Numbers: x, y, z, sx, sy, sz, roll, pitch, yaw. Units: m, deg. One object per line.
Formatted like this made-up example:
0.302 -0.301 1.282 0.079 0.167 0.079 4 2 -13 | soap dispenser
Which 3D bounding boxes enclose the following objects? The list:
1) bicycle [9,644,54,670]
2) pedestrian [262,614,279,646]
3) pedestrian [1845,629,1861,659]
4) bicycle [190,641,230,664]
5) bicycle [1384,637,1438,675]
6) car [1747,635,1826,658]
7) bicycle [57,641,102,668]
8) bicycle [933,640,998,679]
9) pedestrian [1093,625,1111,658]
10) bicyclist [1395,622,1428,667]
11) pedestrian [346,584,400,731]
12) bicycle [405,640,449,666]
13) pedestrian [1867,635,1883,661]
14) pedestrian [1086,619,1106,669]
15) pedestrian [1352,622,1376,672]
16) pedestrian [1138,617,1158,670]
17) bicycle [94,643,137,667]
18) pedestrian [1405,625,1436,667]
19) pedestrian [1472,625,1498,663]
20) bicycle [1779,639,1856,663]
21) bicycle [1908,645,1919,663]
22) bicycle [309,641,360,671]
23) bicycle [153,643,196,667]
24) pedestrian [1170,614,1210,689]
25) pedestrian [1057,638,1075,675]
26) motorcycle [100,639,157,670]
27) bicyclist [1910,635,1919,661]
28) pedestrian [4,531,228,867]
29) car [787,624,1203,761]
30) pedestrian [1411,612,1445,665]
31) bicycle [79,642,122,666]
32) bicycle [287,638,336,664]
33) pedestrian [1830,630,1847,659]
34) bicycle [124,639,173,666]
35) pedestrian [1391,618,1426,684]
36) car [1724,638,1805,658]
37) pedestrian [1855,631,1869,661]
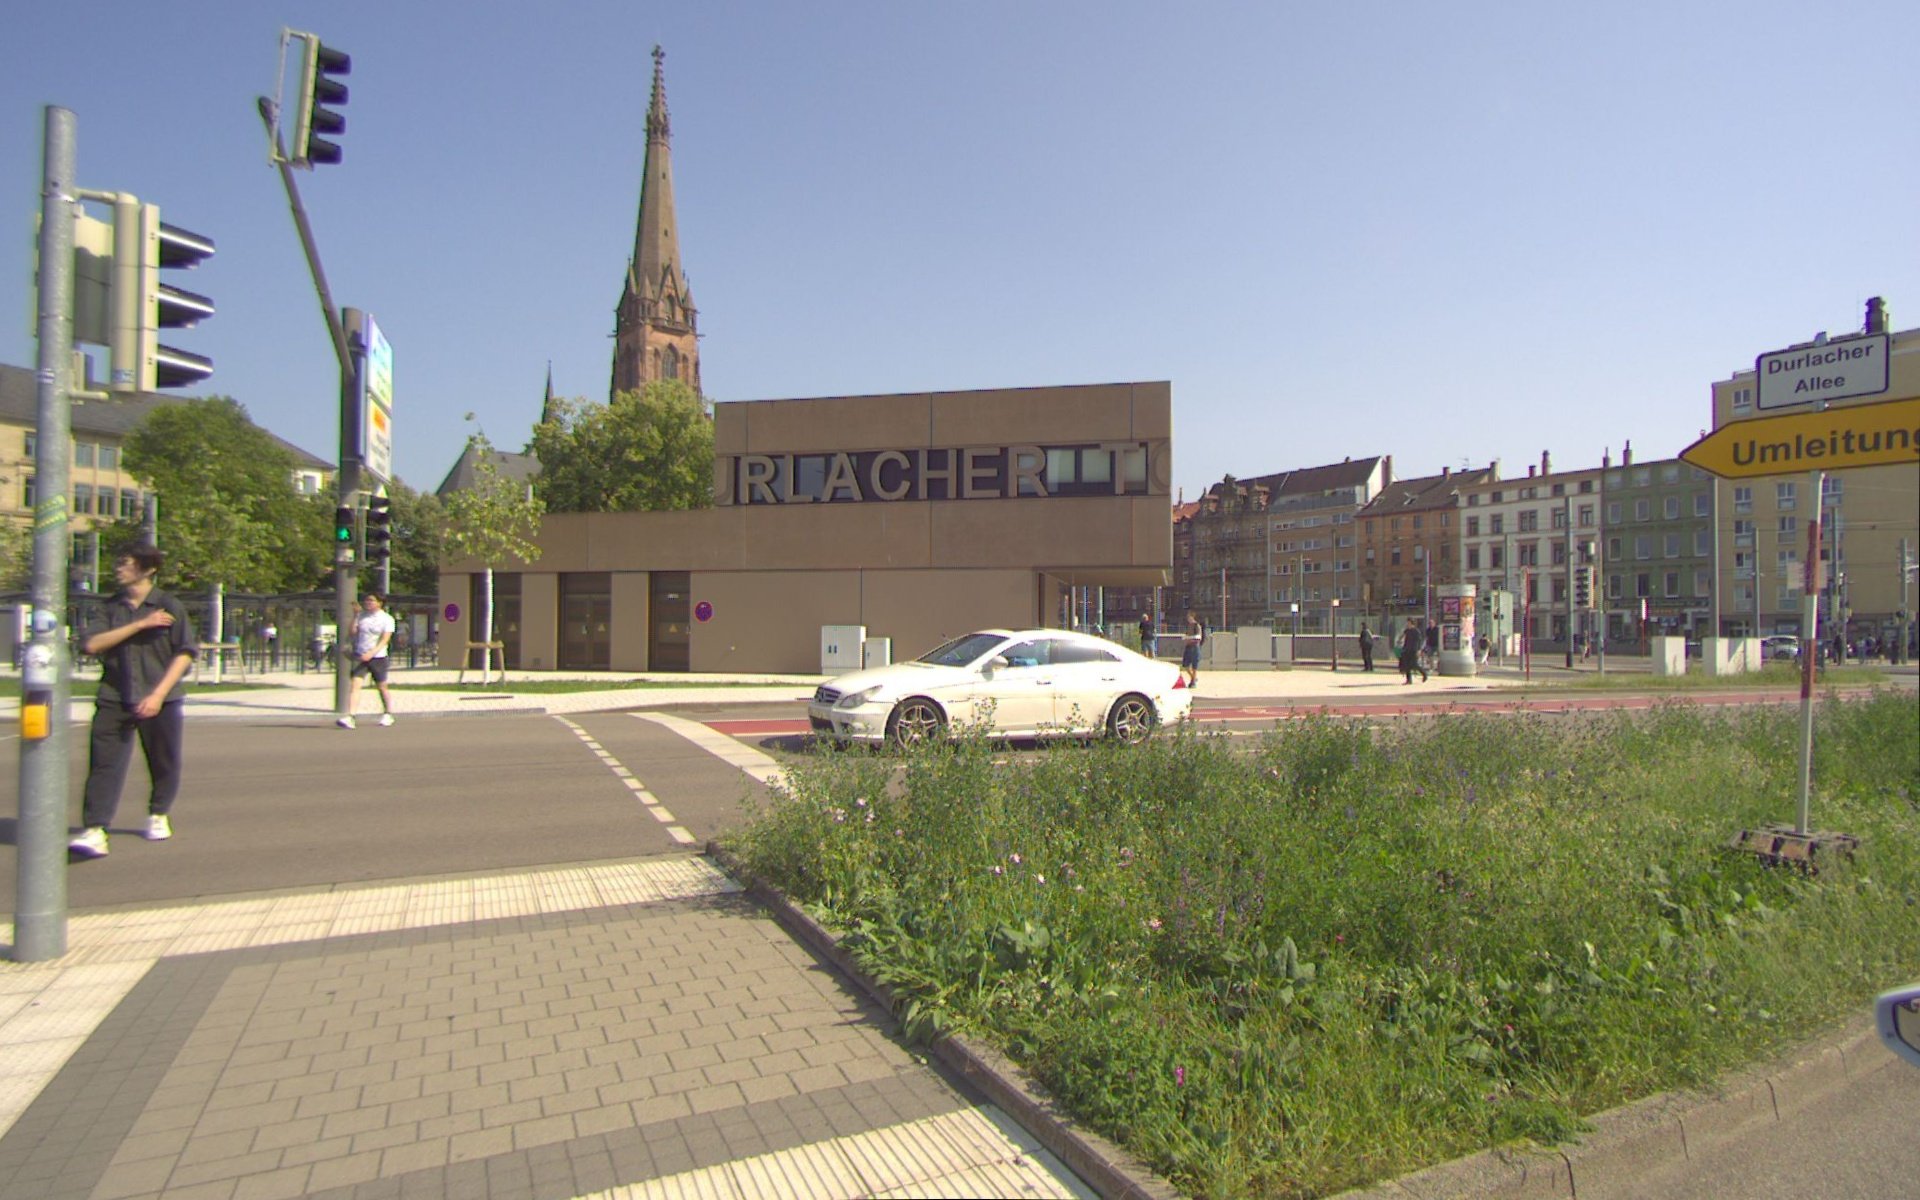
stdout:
-33.429 2.038 36.157 1.556 0.904 0.401 0 -1 14 | bicycle
-38.494 1.691 56.097 0.712 1.771 0.384 2 -2 -44 | pedestrian
51.577 2.560 58.004 0.539 1.707 0.454 -2 0 -19 | pedestrian
-30.096 2.121 40.309 1.556 0.904 0.410 0 -2 14 | bicycle
14.482 1.780 32.210 1.827 1.078 0.560 -2 1 -27 | bicycle
54.408 3.039 66.160 1.568 1.411 3.720 1 -2 -30 | car
-32.749 2.033 37.350 1.556 0.980 0.422 0 -2 14 | bicycle
0.152 1.539 26.003 1.580 0.968 0.661 0 0 12 | bicycle
6.910 2.018 48.982 0.782 1.612 0.692 0 -1 -1 | pedestrian
14.481 1.410 32.212 0.872 1.380 0.560 -2 1 -27 | bicyclist
-7.698 0.742 13.161 0.564 1.857 0.689 1 -2 -32 | pedestrian
-21.210 2.111 39.961 1.710 1.022 0.401 0 -2 14 | bicycle
52.989 2.779 58.168 0.489 1.507 0.440 -2 0 21 | pedestrian
4.825 1.555 35.670 0.595 1.718 0.533 -2 0 3 | pedestrian
13.229 1.539 32.870 0.499 1.601 0.497 -2 0 -16 | pedestrian
6.573 1.510 35.191 0.547 1.843 0.392 -2 0 -5 | pedestrian
-32.394 2.107 38.513 1.556 0.904 0.410 0 -2 14 | bicycle
22.673 2.250 49.488 1.010 2.040 0.953 -2 0 -31 | pedestrian
26.043 2.167 49.833 0.770 1.843 0.829 3 -2 -31 | pedestrian
60.976 3.637 71.506 1.182 1.572 3.965 -2 0 -32 | bicycle
53.531 3.024 55.986 1.715 0.997 0.723 2 -2 -35 | bicycle
-21.624 1.925 34.727 1.710 1.022 0.401 0 -2 14 | bicycle
-30.320 2.135 38.782 1.556 0.904 0.410 0 -2 14 | bicycle
5.611 1.249 24.486 0.668 1.783 0.875 -1 -2 38 | pedestrian
3.395 1.805 32.267 0.513 1.187 0.596 0 -2 11 | pedestrian
-27.887 1.820 33.693 1.710 1.022 0.543 0 -2 14 | motorcycle
53.591 2.671 56.038 0.683 1.453 0.721 1 -2 -35 | bicyclist
-5.152 0.561 6.216 0.719 1.864 1.077 1 -1 -22 | pedestrian
0.465 1.050 12.220 4.754 1.379 1.836 2 -1 -25 | car
16.677 1.370 35.772 0.868 1.843 0.892 -2 0 38 | pedestrian
-32.537 2.039 38.007 1.556 0.904 0.401 0 -2 14 | bicycle
-25.493 1.994 39.471 1.837 1.022 0.462 0 -2 14 | bicycle
50.800 2.562 58.086 0.537 1.707 0.455 0 -1 -7 | pedestrian
-30.626 1.984 37.903 1.679 1.000 0.534 0 -2 14 | bicycle
12.588 1.430 28.188 0.832 1.802 0.876 -2 0 24 | pedestrian
51.796 3.081 64.722 1.556 1.195 3.815 4 -3 -27 | car
52.414 2.668 58.379 0.447 1.707 0.440 -2 0 21 | pedestrian
